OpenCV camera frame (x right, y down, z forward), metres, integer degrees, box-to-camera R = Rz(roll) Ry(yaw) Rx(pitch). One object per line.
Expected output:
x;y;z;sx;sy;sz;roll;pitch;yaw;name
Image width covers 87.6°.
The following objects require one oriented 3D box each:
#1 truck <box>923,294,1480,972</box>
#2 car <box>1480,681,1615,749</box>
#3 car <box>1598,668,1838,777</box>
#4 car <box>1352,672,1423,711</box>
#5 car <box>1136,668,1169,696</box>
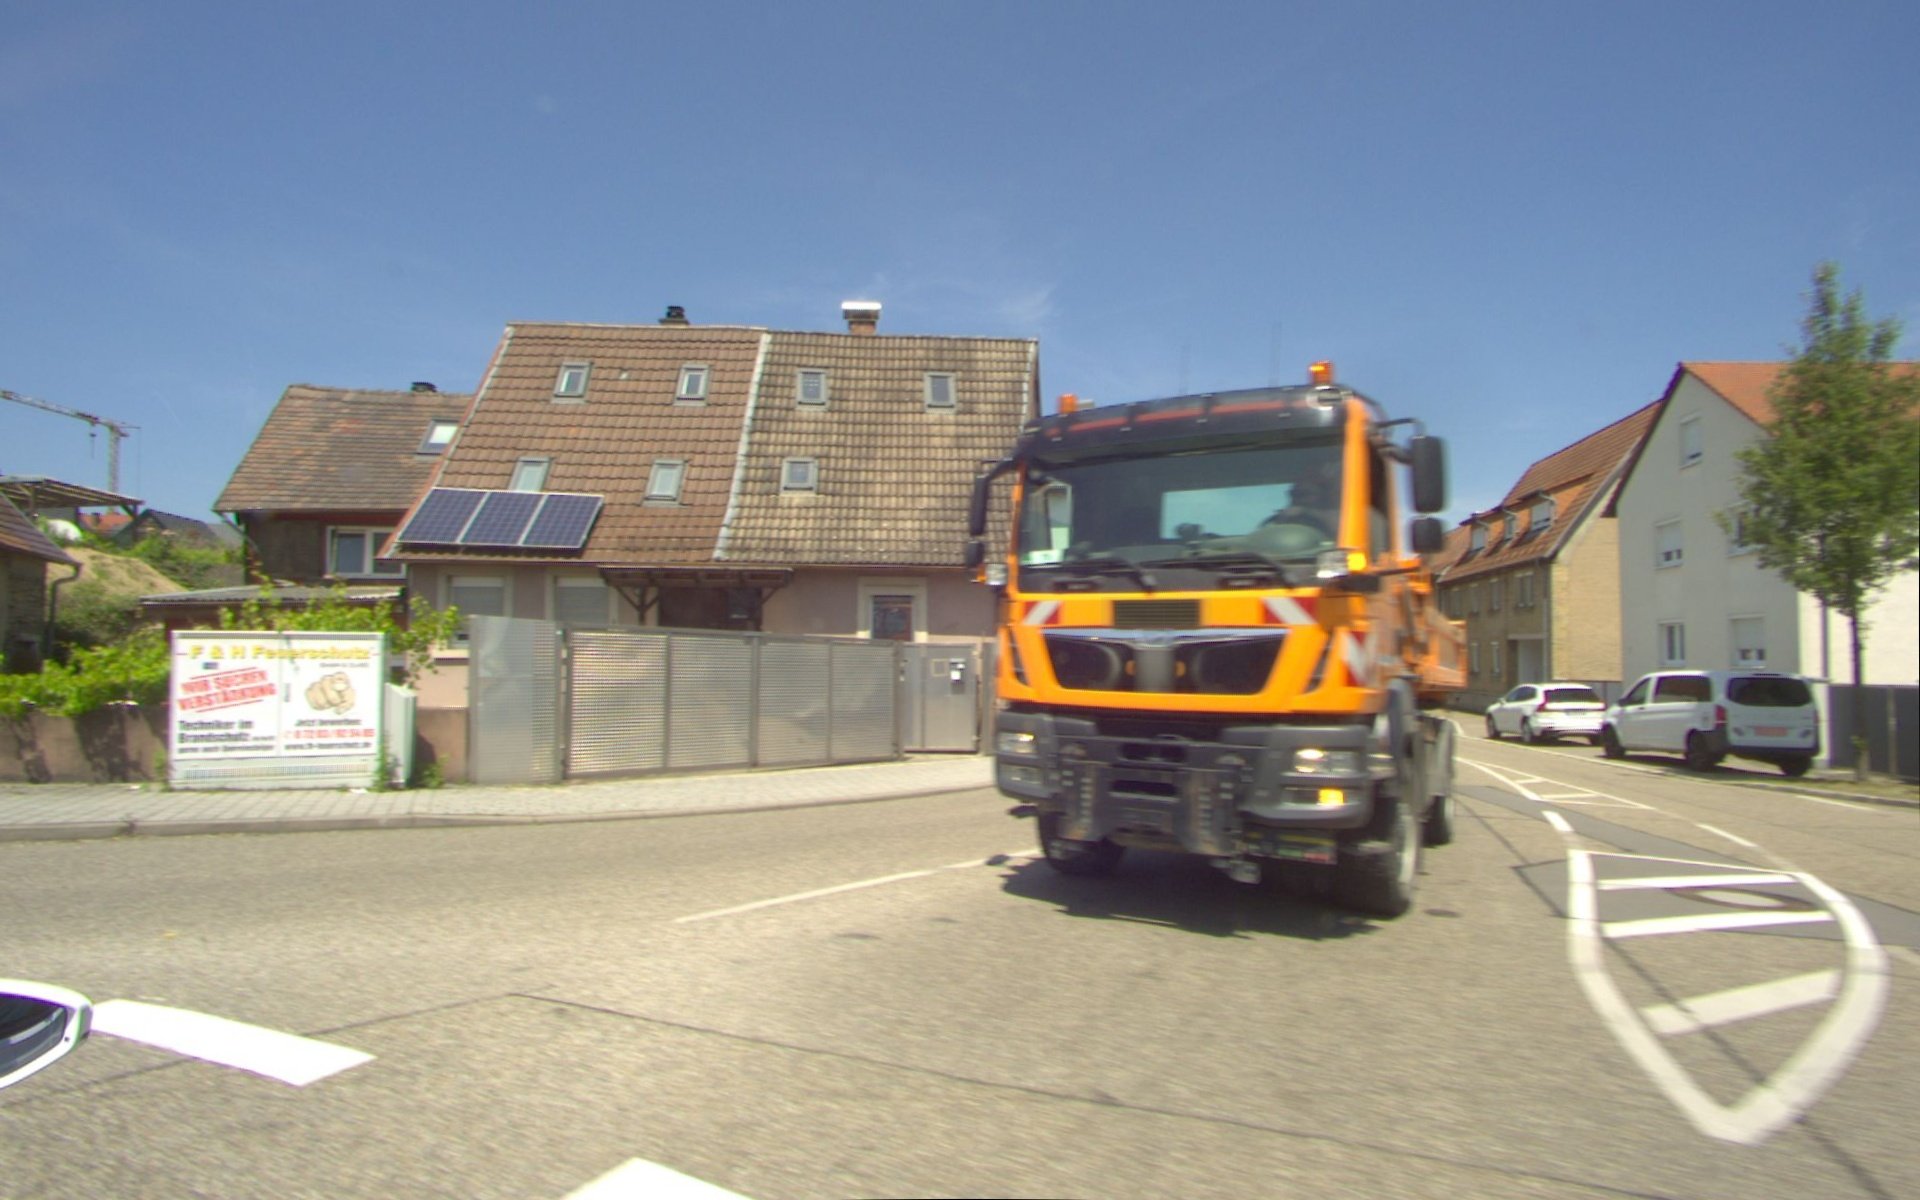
2.792;0.471;8.638;2.630;3.218;7.437;-1;-5;30;truck
16.224;3.130;27.918;1.788;1.654;4.210;0;-3;9;car
15.267;2.436;20.536;1.961;1.934;4.330;1;-5;7;car
19.567;4.157;46.000;1.961;1.604;4.003;1;-3;8;car
11.951;5.039;61.886;1.691;1.615;3.999;0;-3;15;car
